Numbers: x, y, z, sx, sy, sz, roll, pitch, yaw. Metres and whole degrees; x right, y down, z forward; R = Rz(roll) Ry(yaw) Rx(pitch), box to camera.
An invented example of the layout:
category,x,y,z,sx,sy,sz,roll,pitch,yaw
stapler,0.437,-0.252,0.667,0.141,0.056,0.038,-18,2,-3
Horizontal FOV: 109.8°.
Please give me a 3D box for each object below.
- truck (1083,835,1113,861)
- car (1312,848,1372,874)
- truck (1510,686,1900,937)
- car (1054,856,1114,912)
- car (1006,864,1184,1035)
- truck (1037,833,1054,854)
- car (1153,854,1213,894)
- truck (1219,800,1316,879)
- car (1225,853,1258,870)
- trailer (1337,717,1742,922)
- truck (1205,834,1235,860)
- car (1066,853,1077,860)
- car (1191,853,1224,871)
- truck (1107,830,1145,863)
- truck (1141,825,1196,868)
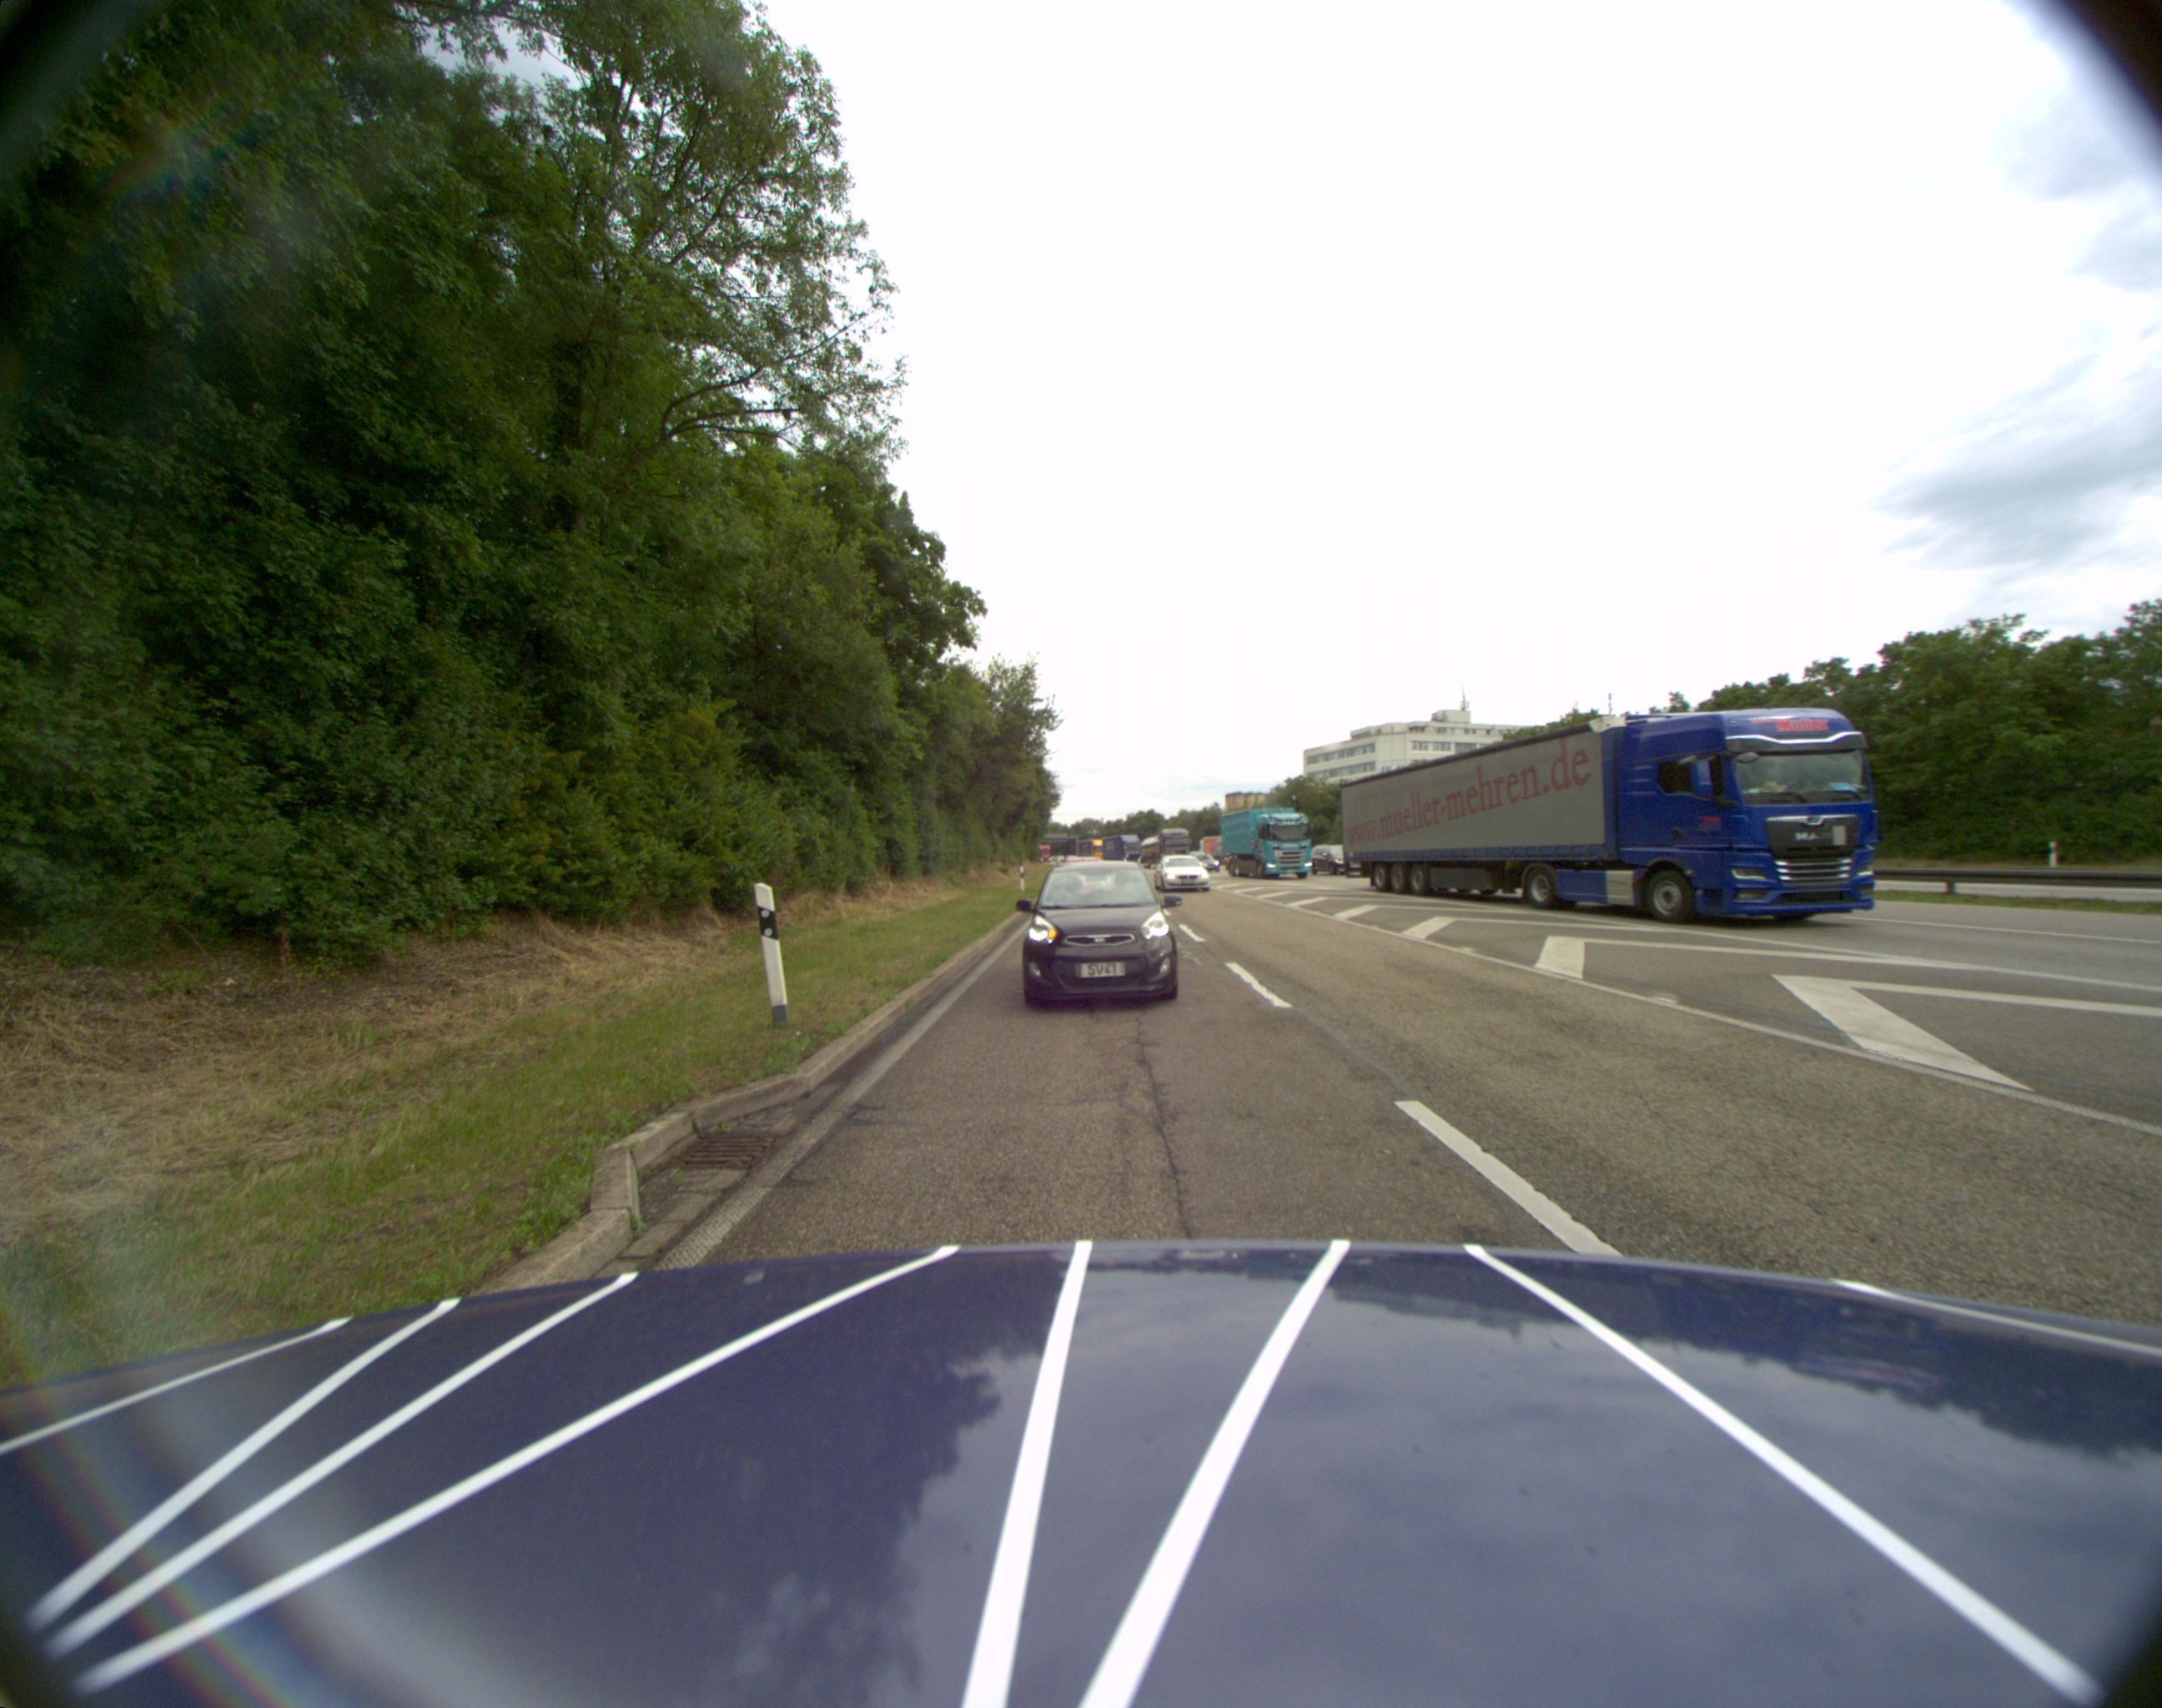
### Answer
category,x,y,z,sx,sy,sz,roll,pitch,yaw
truck,2.710,-0.935,129.109,2.848,4.206,14.111,-2,0,-8
car,15.017,0.386,43.894,1.898,1.425,3.999,-1,0,-3
truck,11.614,-0.686,15.035,2.676,3.938,5.926,-1,0,-2
car,0.087,0.842,22.925,1.630,1.492,3.564,-1,0,0
car,0.177,0.907,8.974,1.584,1.485,4.000,-2,0,1
truck,-8.805,-2.503,187.790,2.848,5.070,14.111,-2,0,-8
car,4.163,0.781,31.738,1.863,1.455,4.884,-2,0,0
truck,10.493,-0.758,44.048,2.700,3.977,10.122,-1,0,-2
car,14.178,0.658,67.222,1.898,1.425,4.054,-1,0,-3
trailer,11.317,-0.693,21.787,2.680,3.951,13.916,-1,0,-2
truck,20.441,-1.035,112.250,2.000,3.739,7.541,-1,0,-8
car,-1.924,0.535,152.305,1.636,1.328,3.192,-1,0,-10
car,9.856,0.591,59.463,1.757,1.314,3.999,-1,0,-3
truck,5.977,-0.955,104.357,2.815,4.206,13.998,-2,0,-6
truck,8.783,-0.725,78.326,3.328,3.902,13.140,-1,0,-3
